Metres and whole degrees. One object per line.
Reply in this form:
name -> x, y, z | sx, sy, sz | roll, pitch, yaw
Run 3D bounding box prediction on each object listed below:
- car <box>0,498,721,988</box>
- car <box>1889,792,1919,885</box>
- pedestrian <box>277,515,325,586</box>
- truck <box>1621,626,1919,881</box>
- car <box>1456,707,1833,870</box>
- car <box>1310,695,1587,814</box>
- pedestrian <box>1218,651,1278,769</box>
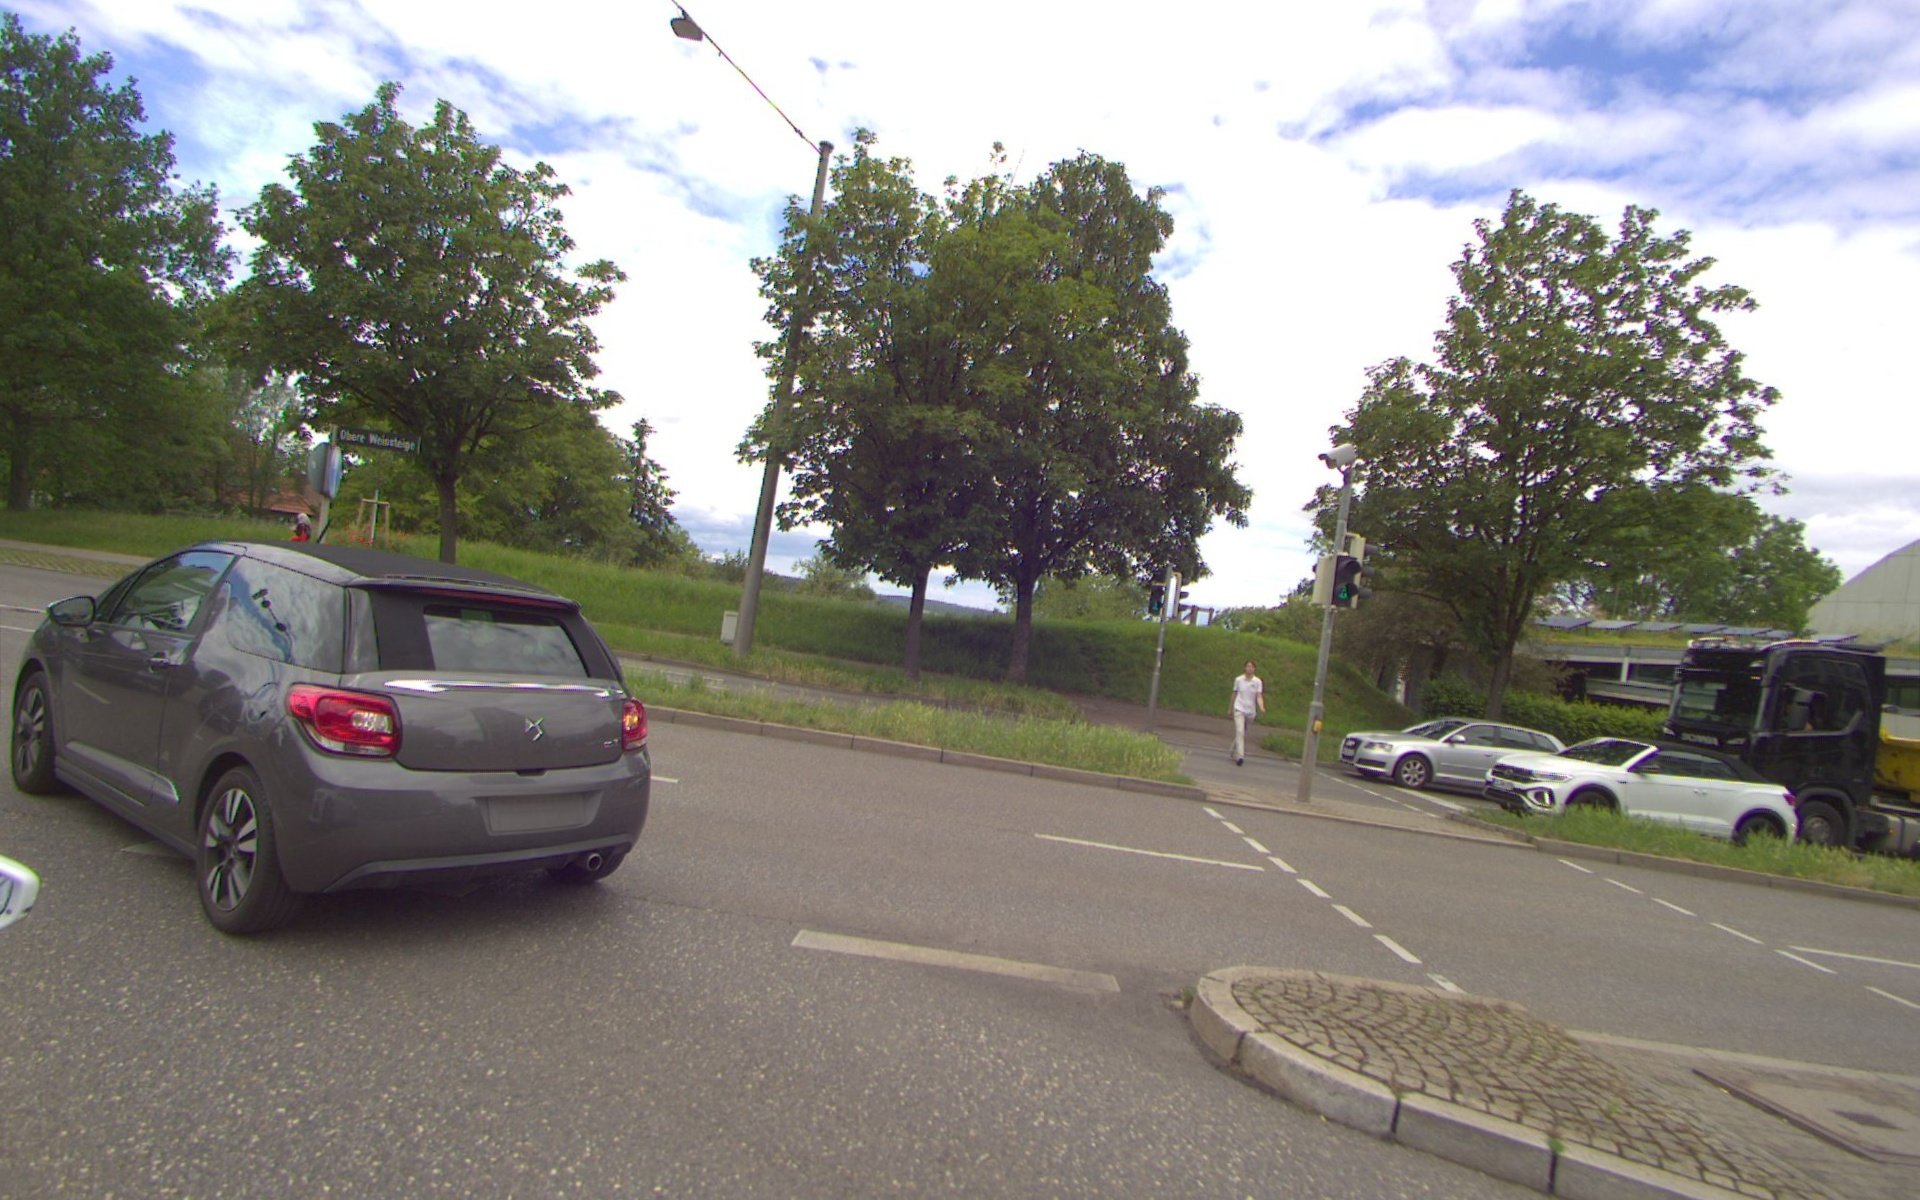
car -> -3.350, 0.442, 5.135 | 3.995, 1.478, 1.704 | 7, -2, 32
car -> 17.038, 4.060, 15.510 | 3.907, 1.390, 1.654 | 9, -1, -3
pedestrian -> -16.032, -1.205, 24.474 | 0.690, 1.626, 0.541 | 8, 5, -2
truck -> 18.047, 3.113, 18.898 | 9.290, 3.971, 2.828 | 8, -1, -4
car -> 10.304, 2.805, 15.357 | 4.409, 1.547, 1.856 | 9, -1, -3
car -> 9.008, 2.835, 18.799 | 4.084, 1.459, 1.990 | 8, -1, -3
pedestrian -> 4.992, 1.887, 17.467 | 0.577, 1.940, 0.757 | 8, -1, 0
